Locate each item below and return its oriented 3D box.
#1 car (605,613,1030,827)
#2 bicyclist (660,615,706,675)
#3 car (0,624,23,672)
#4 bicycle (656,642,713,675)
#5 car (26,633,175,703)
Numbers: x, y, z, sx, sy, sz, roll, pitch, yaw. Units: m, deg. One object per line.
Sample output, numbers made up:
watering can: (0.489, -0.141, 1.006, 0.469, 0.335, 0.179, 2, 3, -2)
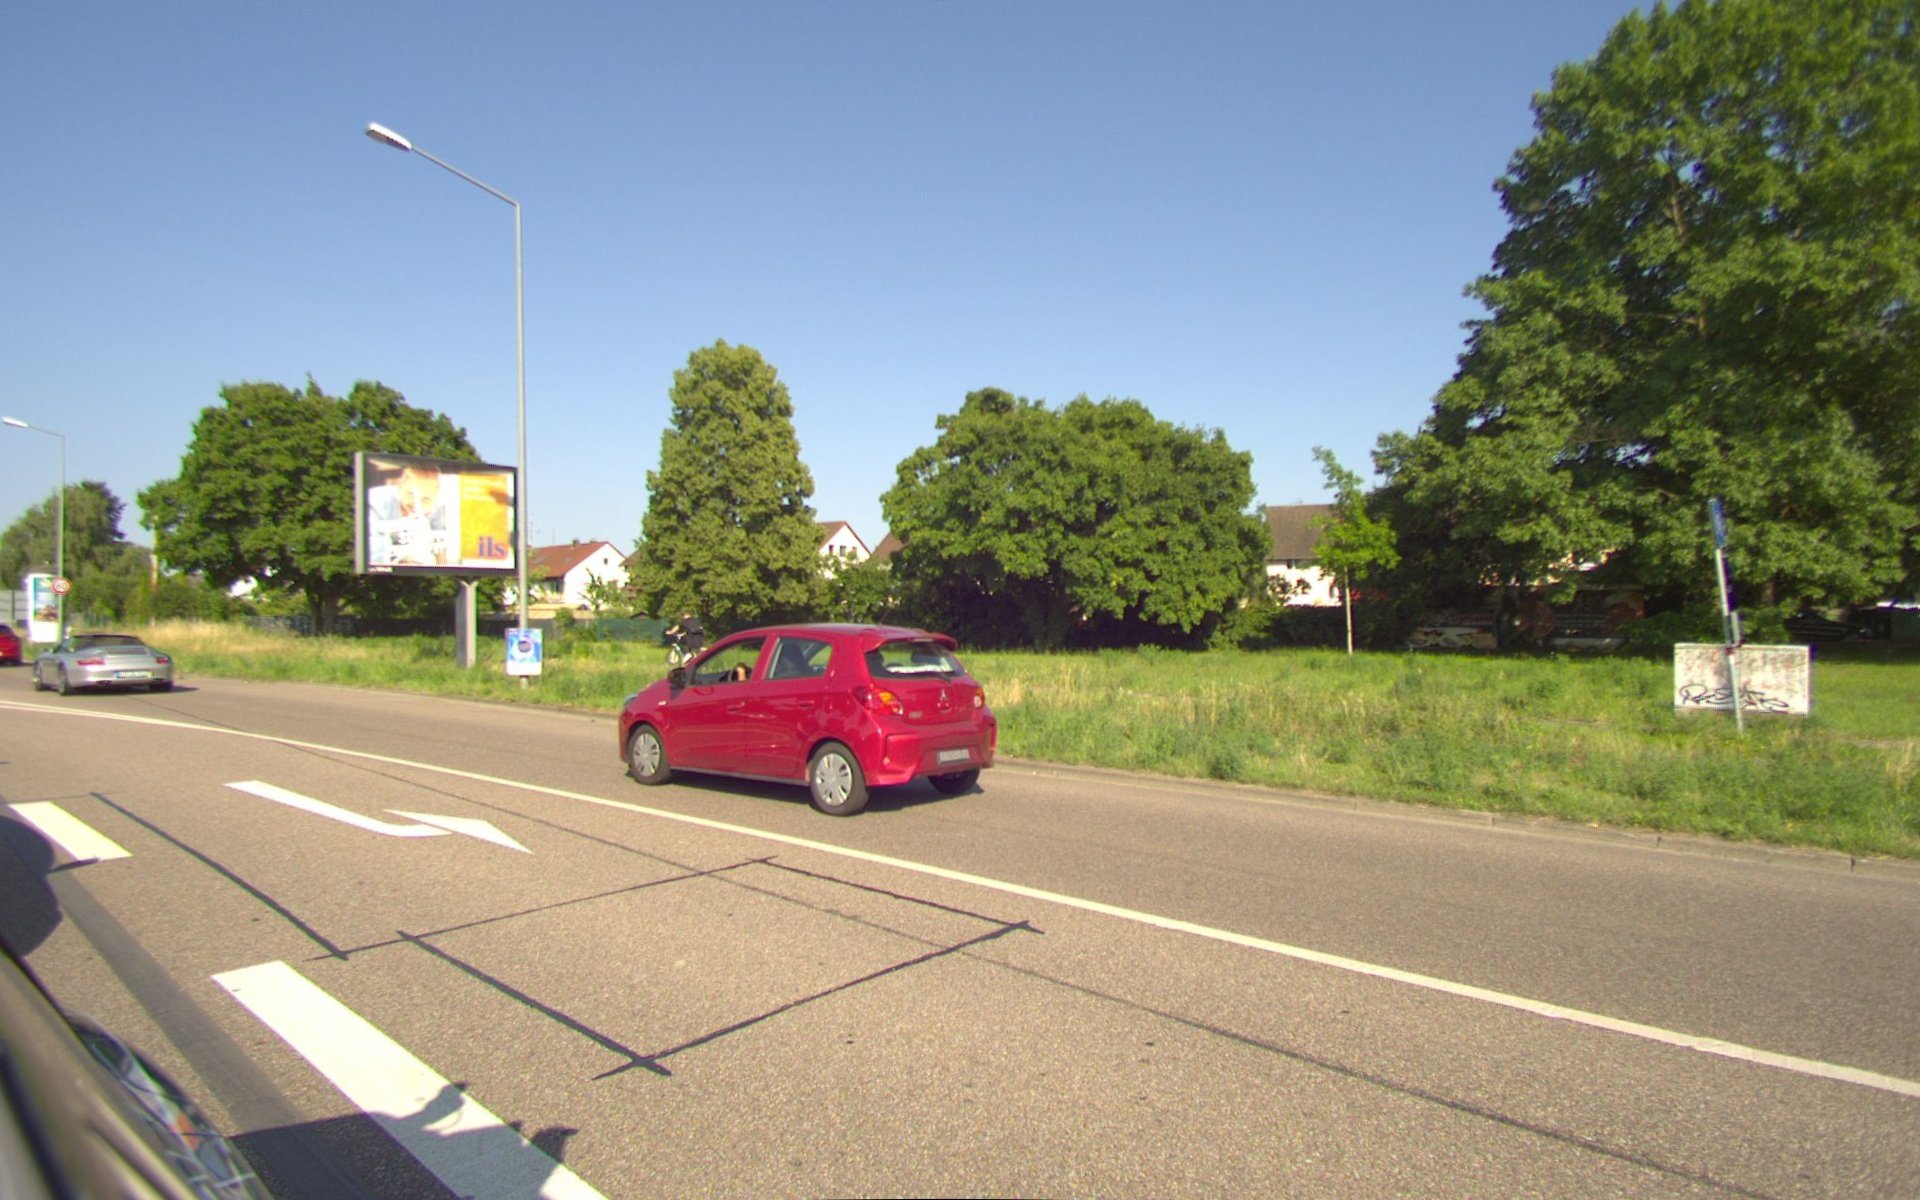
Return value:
car: (-1.358, 0.901, 8.969, 3.671, 1.510, 1.678, -1, -2, 38)
bicyclist: (-6.822, 1.098, 24.905, 1.071, 1.439, 0.630, -2, -1, 42)
car: (-32.029, 1.539, 32.779, 3.907, 1.489, 1.763, -1, -2, 36)
bicycle: (-6.798, 1.426, 24.911, 1.834, 0.759, 0.449, -2, -1, 42)
car: (-18.605, 1.402, 21.837, 4.283, 1.320, 1.761, -1, -1, 40)
